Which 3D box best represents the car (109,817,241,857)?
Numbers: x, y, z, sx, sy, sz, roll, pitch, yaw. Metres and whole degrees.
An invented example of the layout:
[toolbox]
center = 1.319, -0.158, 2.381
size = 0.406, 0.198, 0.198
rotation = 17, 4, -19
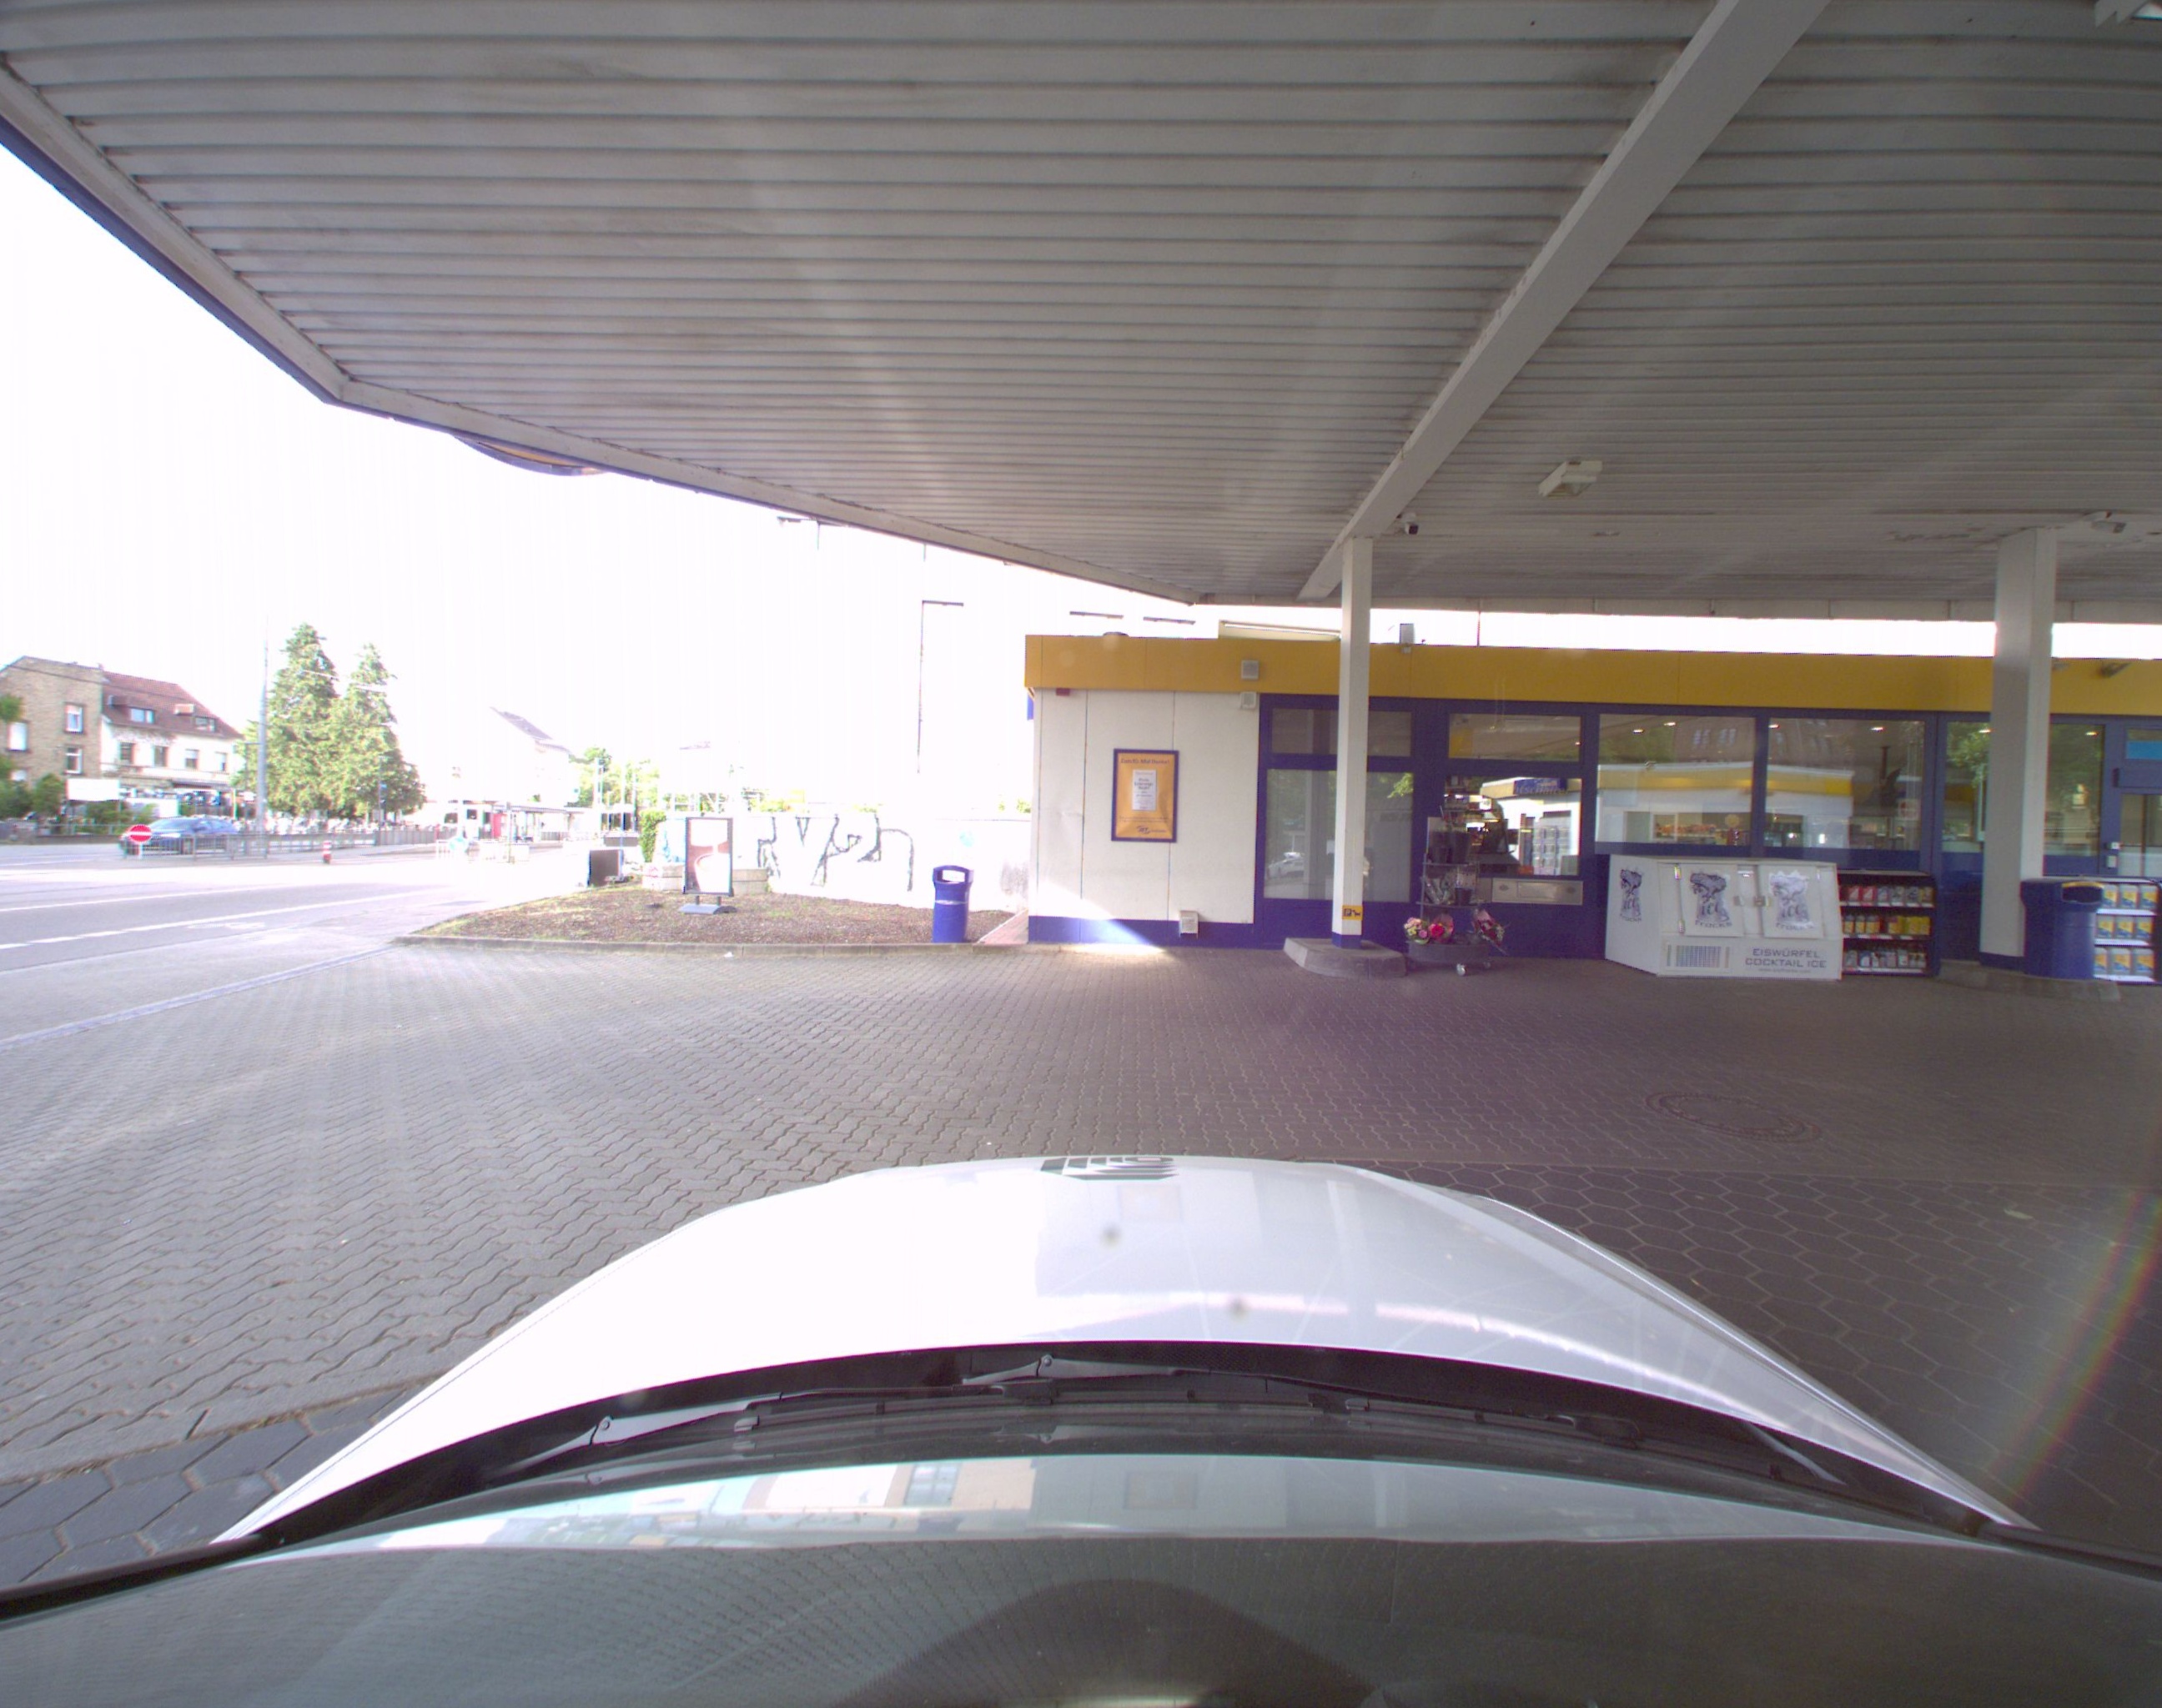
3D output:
[car]
center = -36.472, -0.704, 32.950
size = 1.864, 1.469, 4.110
rotation = 1, 1, -21
